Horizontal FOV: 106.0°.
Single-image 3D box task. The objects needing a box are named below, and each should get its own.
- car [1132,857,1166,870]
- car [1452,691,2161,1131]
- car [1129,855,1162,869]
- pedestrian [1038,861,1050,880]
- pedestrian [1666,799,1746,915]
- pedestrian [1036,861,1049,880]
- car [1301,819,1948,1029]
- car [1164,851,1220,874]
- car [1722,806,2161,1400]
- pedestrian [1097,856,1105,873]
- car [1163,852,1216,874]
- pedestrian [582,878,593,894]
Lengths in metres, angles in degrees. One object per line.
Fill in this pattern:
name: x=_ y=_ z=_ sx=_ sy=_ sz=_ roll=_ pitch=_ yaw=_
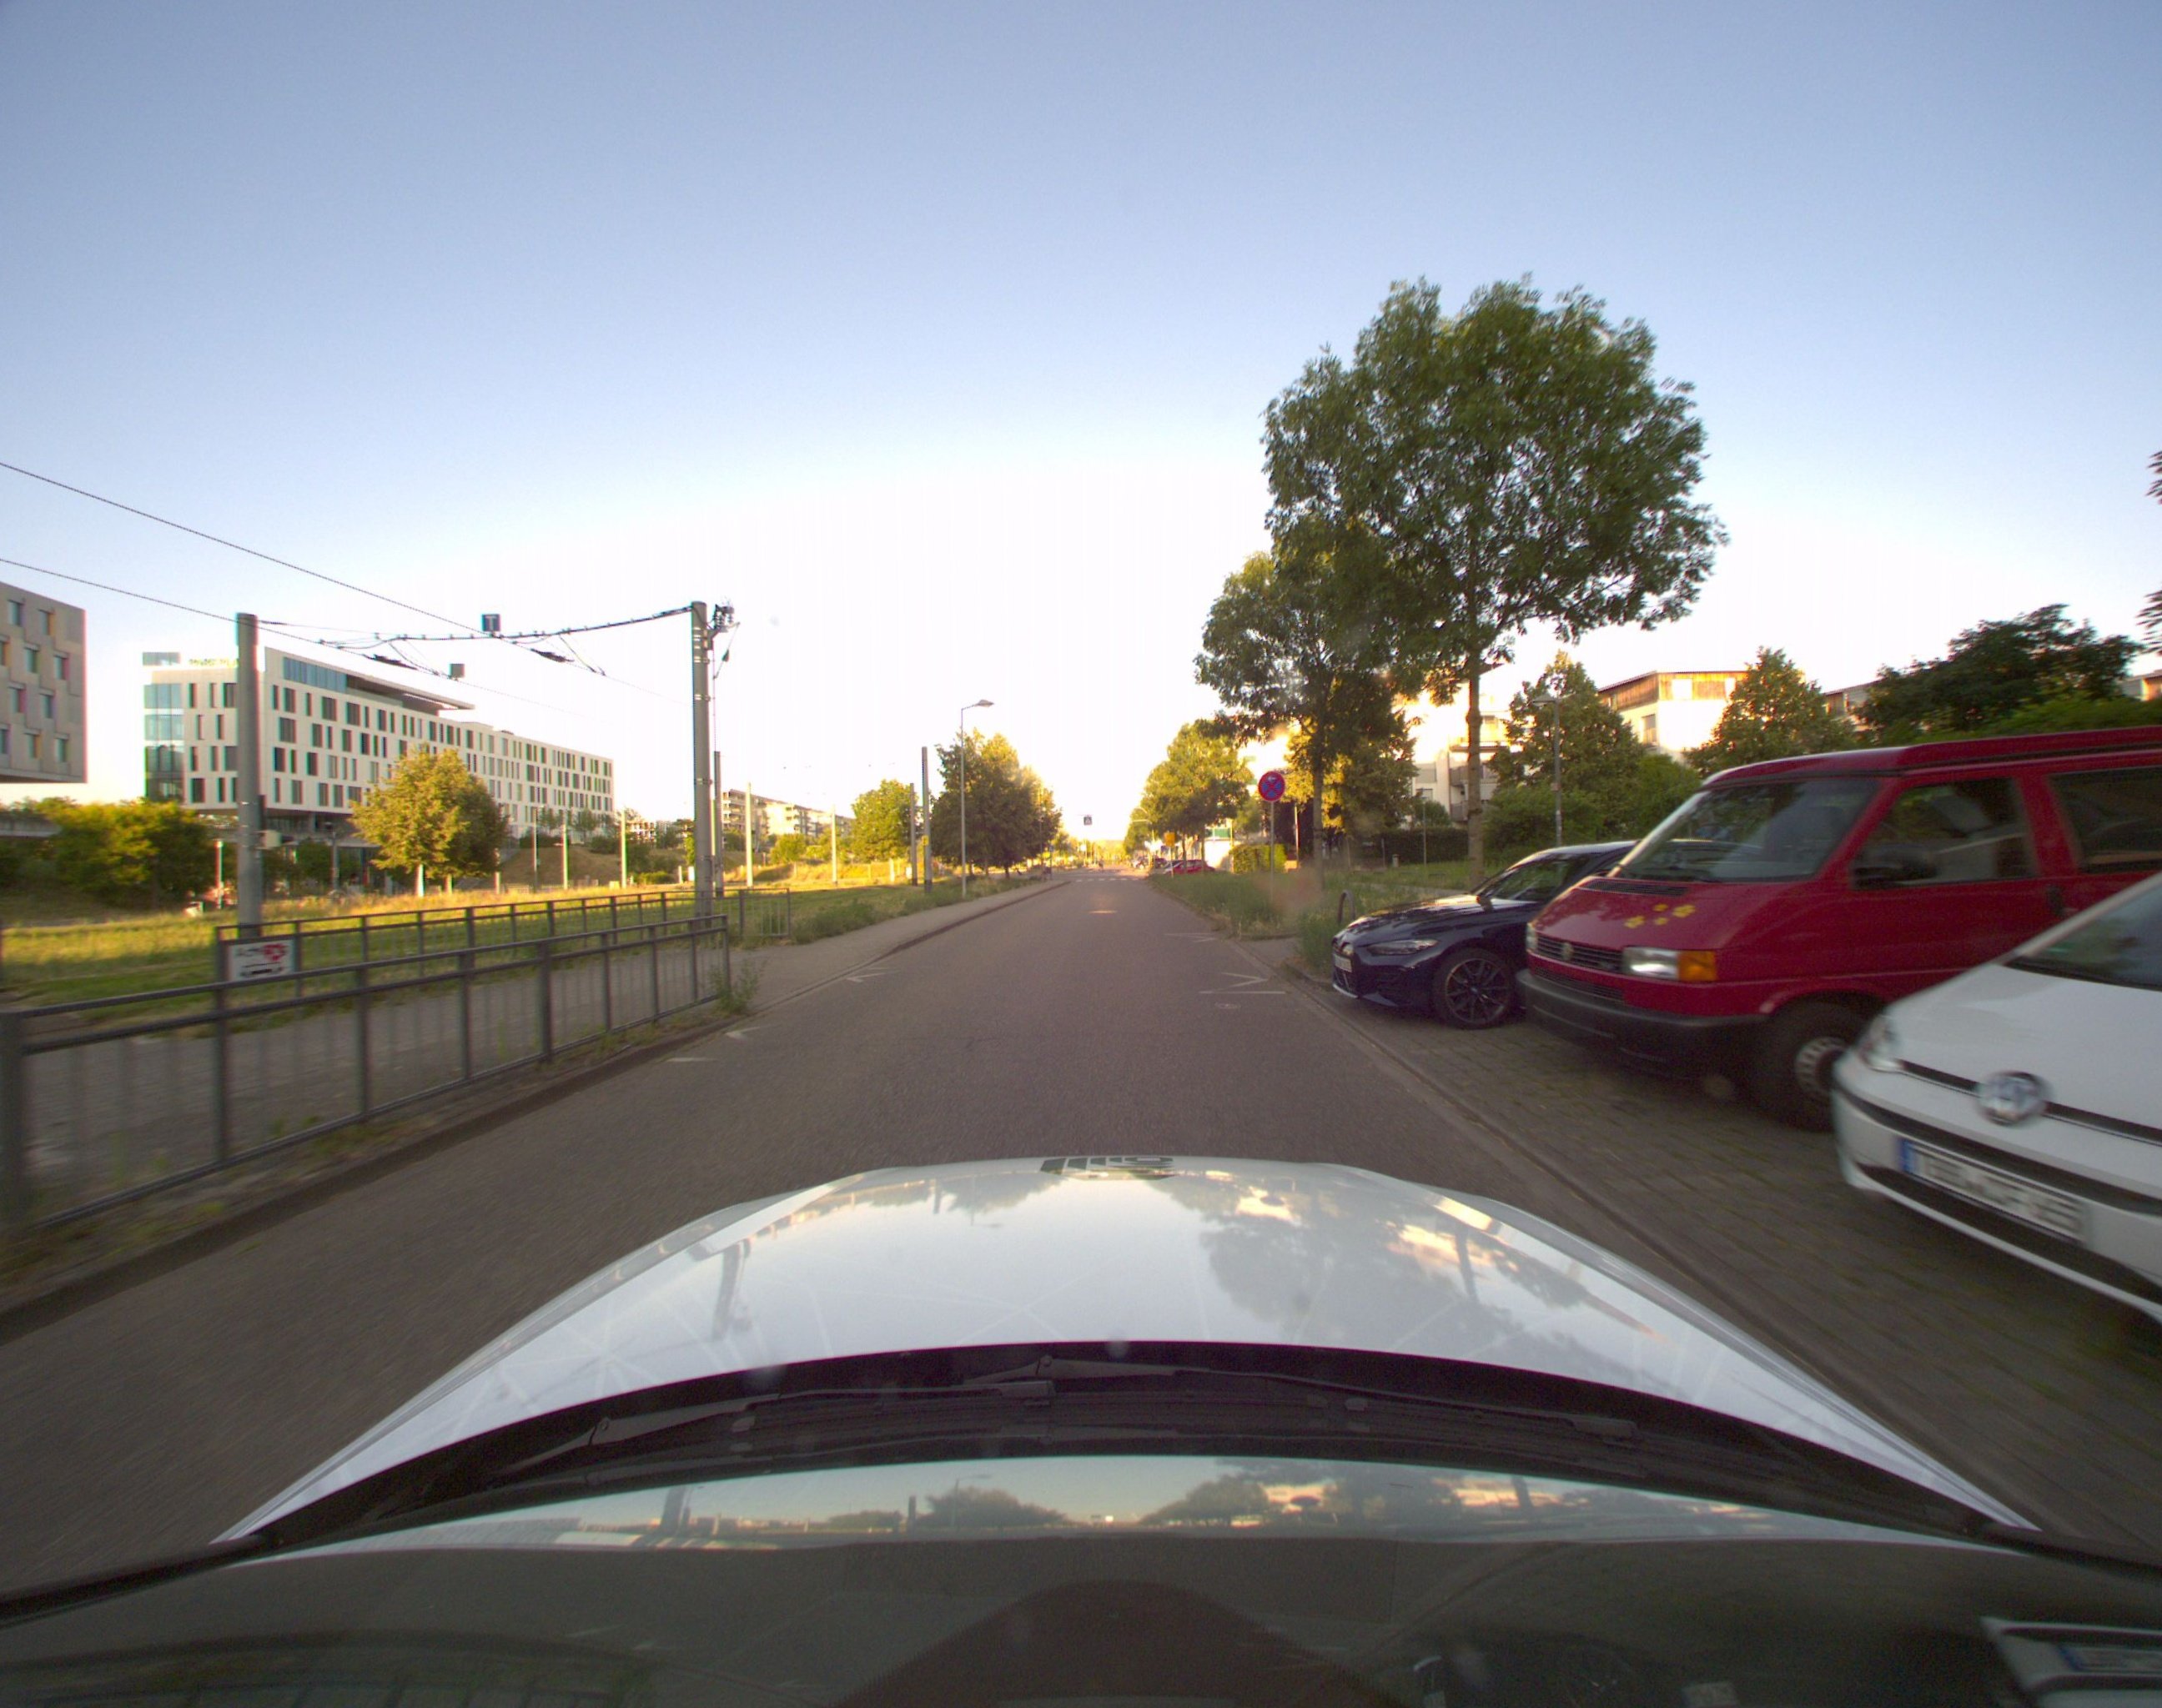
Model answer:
car: x=9.101 y=1.301 z=108.781 sx=4.465 sy=1.596 sz=2.002 roll=-2 pitch=-1 yaw=3
car: x=5.215 y=0.266 z=5.016 sx=4.899 sy=2.117 sz=2.018 roll=-2 pitch=-1 yaw=3
car: x=10.481 y=1.294 z=132.117 sx=4.991 sy=2.045 sz=2.248 roll=-2 pitch=-1 yaw=-3
pedestrian: x=-3.448 y=1.520 z=75.807 sx=0.983 sy=1.693 sz=0.698 roll=-2 pitch=-1 yaw=-9
pedestrian: x=9.812 y=0.046 z=12.799 sx=0.666 sy=1.743 sz=0.700 roll=-2 pitch=-1 yaw=2
pedestrian: x=-3.538 y=1.521 z=74.983 sx=1.018 sy=1.693 sz=0.757 roll=-2 pitch=-1 yaw=-9
car: x=4.584 y=0.580 z=7.471 sx=4.650 sy=1.556 sz=1.812 roll=-2 pitch=-1 yaw=2
car: x=7.940 y=0.633 z=58.515 sx=3.790 sy=1.508 sz=1.679 roll=-2 pitch=-1 yaw=0
car: x=4.441 y=0.528 z=2.541 sx=3.511 sy=1.465 sz=1.616 roll=-4 pitch=-1 yaw=2
pedestrian: x=2.454 y=1.307 z=101.067 sx=0.842 sy=2.014 sz=0.945 roll=-2 pitch=-1 yaw=8
car: x=8.139 y=0.673 z=61.300 sx=3.790 sy=1.508 sz=1.679 roll=-2 pitch=-1 yaw=0
pedestrian: x=-57.041 y=3.723 z=94.136 sx=0.783 sy=1.786 sz=0.815 roll=-2 pitch=-1 yaw=5
